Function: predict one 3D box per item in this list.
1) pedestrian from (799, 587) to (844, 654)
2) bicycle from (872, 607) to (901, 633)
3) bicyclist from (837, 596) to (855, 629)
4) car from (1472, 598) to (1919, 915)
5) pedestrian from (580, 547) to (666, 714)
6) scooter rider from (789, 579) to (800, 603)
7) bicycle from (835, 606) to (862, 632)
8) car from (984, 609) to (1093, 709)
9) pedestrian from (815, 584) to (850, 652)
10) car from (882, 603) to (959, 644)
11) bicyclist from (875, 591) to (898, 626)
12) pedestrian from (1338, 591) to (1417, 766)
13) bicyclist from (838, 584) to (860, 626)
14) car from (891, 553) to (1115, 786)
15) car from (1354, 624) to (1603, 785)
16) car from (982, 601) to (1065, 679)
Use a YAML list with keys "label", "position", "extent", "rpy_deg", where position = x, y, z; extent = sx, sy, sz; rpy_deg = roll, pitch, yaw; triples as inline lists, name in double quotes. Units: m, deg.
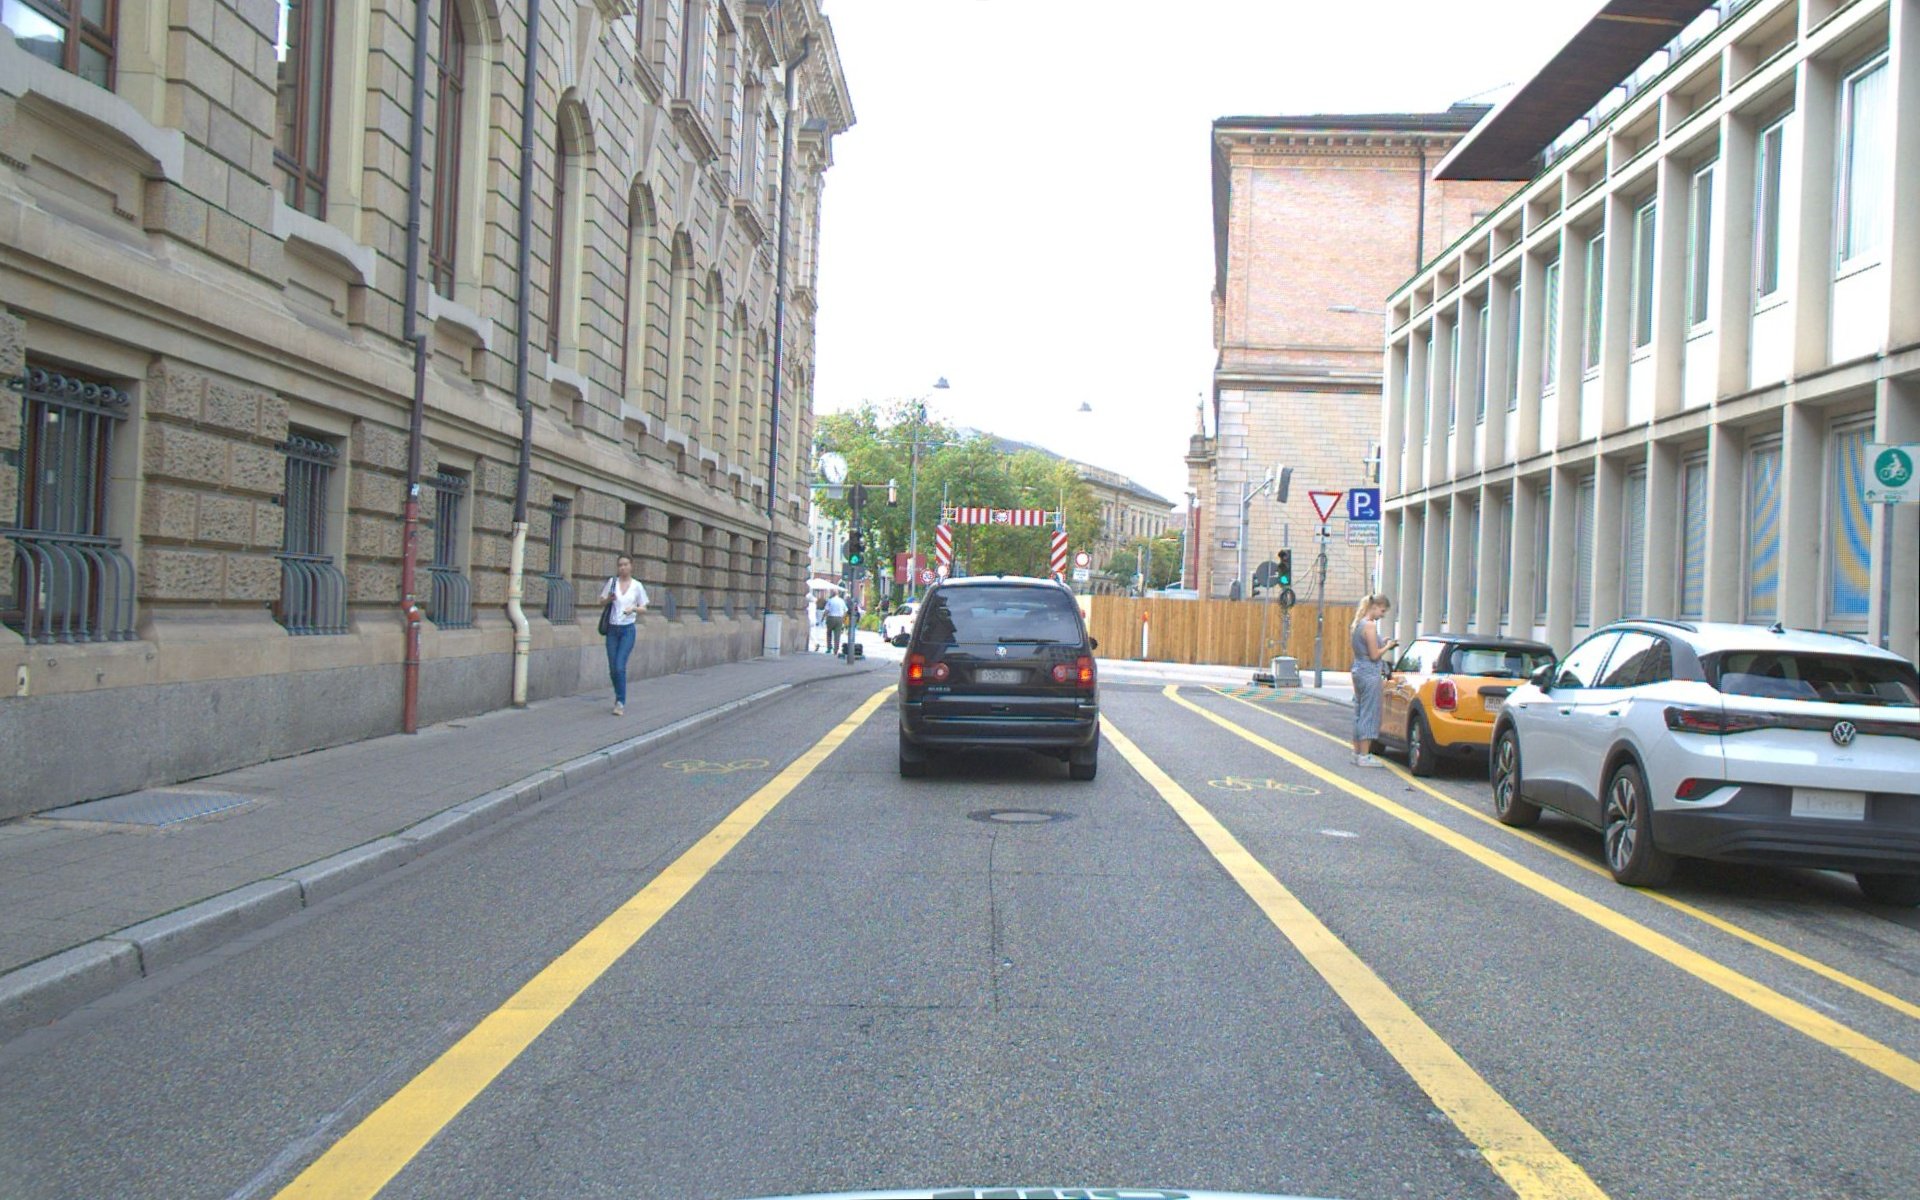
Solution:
- label: "pedestrian"
  position: [-4.053, 0.597, 48.216]
  extent: [0.785, 1.851, 1.035]
  rpy_deg: [4, -1, -35]
- label: "bicycle"
  position: [-3.012, 0.820, 67.431]
  extent: [0.723, 1.026, 2.060]
  rpy_deg: [2, -1, -15]
- label: "bicyclist"
  position: [-5.268, 0.565, 76.417]
  extent: [0.722, 1.495, 0.806]
  rpy_deg: [2, -1, -11]
- label: "car"
  position: [5.070, 0.914, 11.396]
  extent: [1.822, 1.632, 4.514]
  rpy_deg: [5, 0, 4]
- label: "pedestrian"
  position: [-3.908, 0.350, 19.244]
  extent: [0.650, 1.851, 1.048]
  rpy_deg: [4, -1, 1]
- label: "scooter rider"
  position: [-10.766, -0.576, 107.744]
  extent: [0.587, 1.516, 0.679]
  rpy_deg: [2, -1, 4]
- label: "bicycle"
  position: [-4.546, 0.773, 67.243]
  extent: [0.722, 1.026, 2.061]
  rpy_deg: [2, -1, -14]
- label: "car"
  position: [1.273, 0.944, 27.937]
  extent: [1.643, 1.494, 4.103]
  rpy_deg: [2, -1, 1]
- label: "pedestrian"
  position: [-3.559, 0.506, 46.282]
  extent: [0.776, 1.851, 1.048]
  rpy_deg: [4, -1, 1]
- label: "car"
  position: [-1.420, 0.809, 58.076]
  extent: [1.624, 1.344, 3.655]
  rpy_deg: [2, -1, -19]
- label: "bicyclist"
  position: [-2.992, 0.361, 67.428]
  extent: [0.723, 1.399, 0.828]
  rpy_deg: [2, -1, -15]
- label: "pedestrian"
  position: [4.437, 0.820, 17.591]
  extent: [0.683, 1.794, 0.706]
  rpy_deg: [2, -1, 6]
- label: "bicyclist"
  position: [-4.526, 0.205, 67.246]
  extent: [0.722, 1.640, 0.692]
  rpy_deg: [2, -1, -14]
- label: "car"
  position: [0.473, 0.587, 15.503]
  extent: [1.752, 1.821, 4.105]
  rpy_deg: [2, -1, 4]
- label: "car"
  position: [5.488, 1.040, 17.980]
  extent: [1.645, 1.460, 3.888]
  rpy_deg: [3, -1, 4]
- label: "car"
  position: [1.388, 0.889, 37.644]
  extent: [1.737, 1.613, 4.000]
  rpy_deg: [2, -1, 1]
